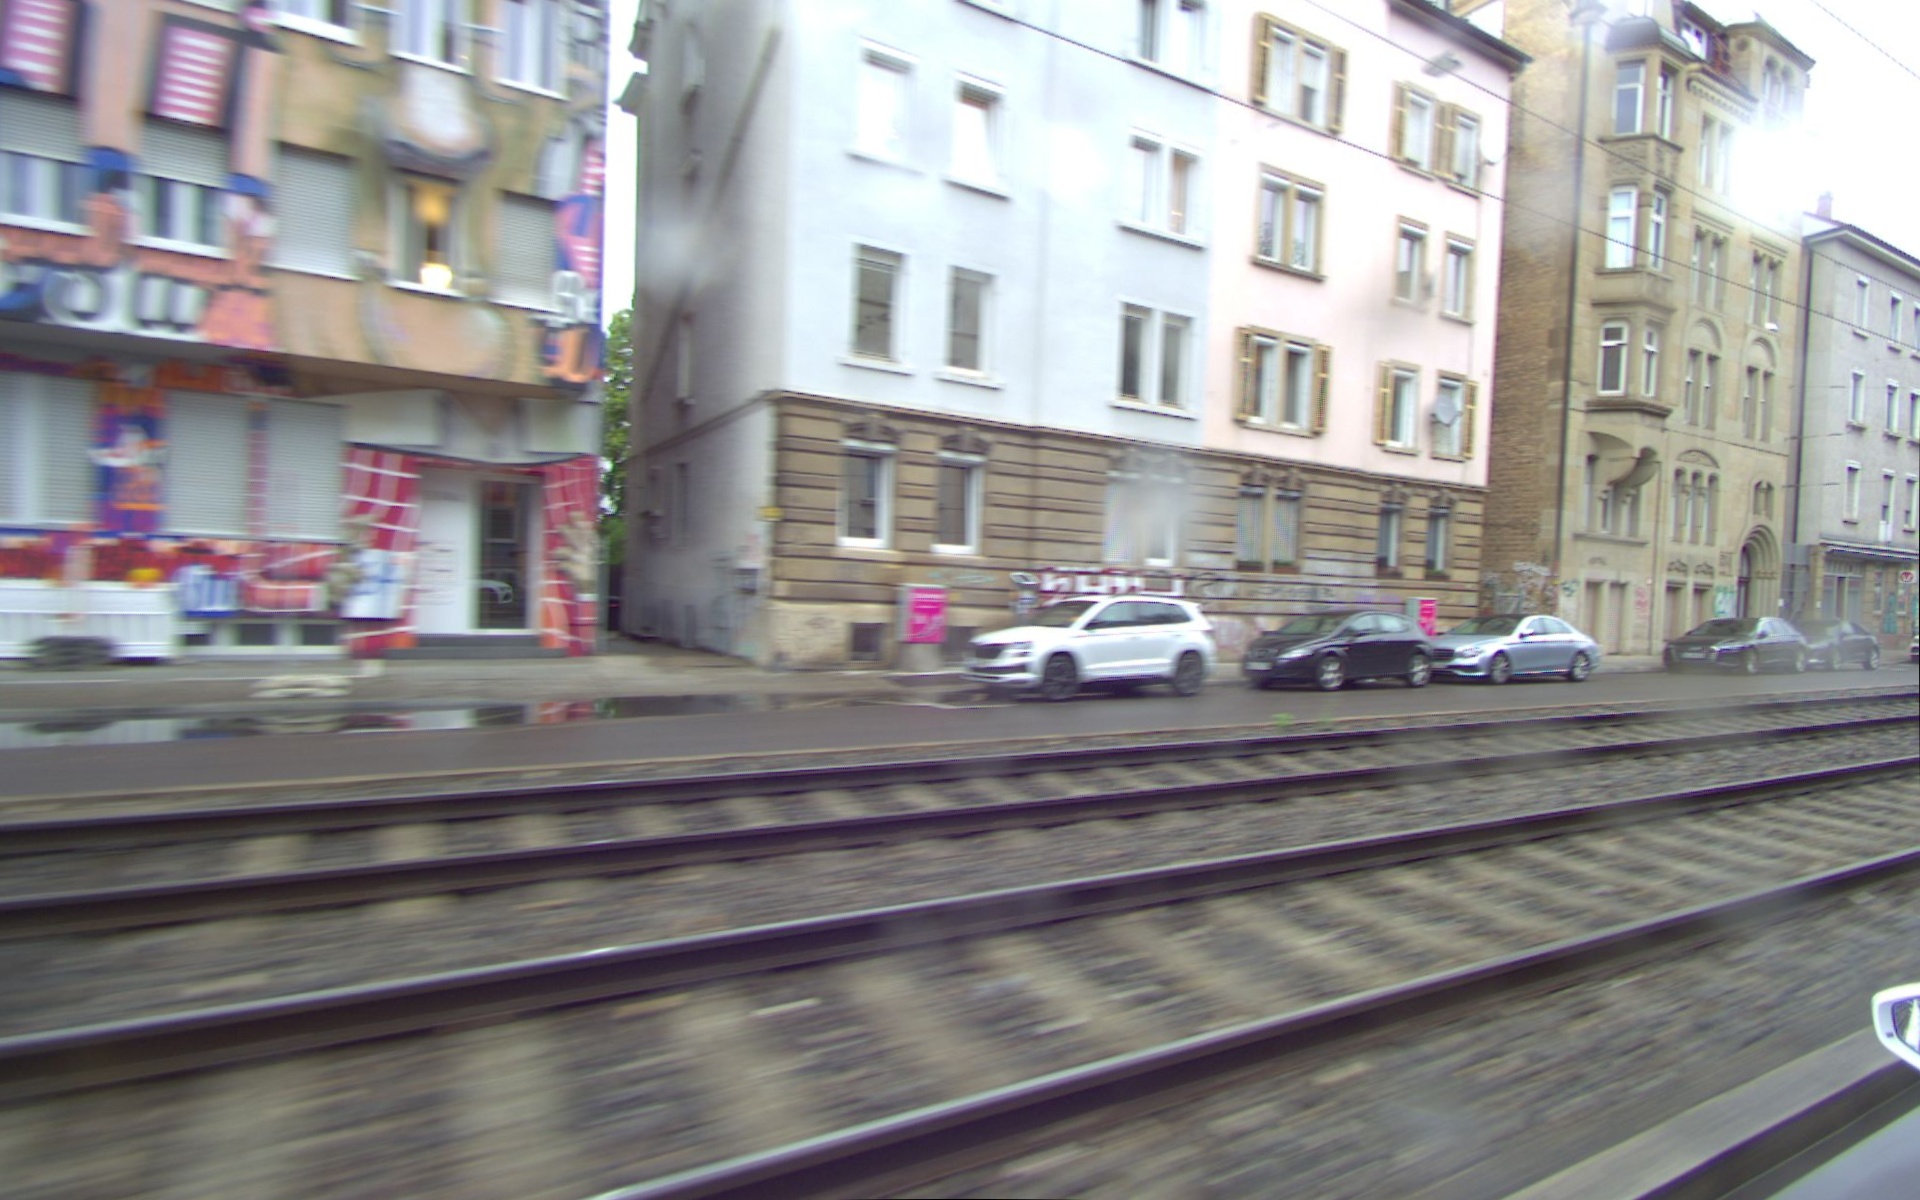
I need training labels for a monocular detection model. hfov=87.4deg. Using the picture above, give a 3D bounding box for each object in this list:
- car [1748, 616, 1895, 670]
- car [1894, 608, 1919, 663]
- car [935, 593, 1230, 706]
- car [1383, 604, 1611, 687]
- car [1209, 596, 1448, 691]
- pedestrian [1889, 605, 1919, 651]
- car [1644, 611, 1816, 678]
[{"bbox_3d":[25.453,1.249,29.673,4.188,1.394,1.984,2,1,-30],"label":"car"},{"bbox_3d":[35.241,1.298,35.409,5.012,1.864,1.983,2,1,-31],"label":"car"},{"bbox_3d":[2.001,0.755,16.163,4.383,1.539,1.984,2,1,-30],"label":"car"},{"bbox_3d":[11.562,0.954,21.542,4.933,1.539,1.984,2,1,-30],"label":"car"},{"bbox_3d":[6.950,0.798,18.901,4.159,1.539,1.984,2,1,-30],"label":"car"},{"bbox_3d":[37.600,1.097,39.818,0.973,1.774,0.797,1,1,-30],"label":"pedestrian"},{"bbox_3d":[20.484,1.170,26.695,4.621,1.539,1.984,2,1,-30],"label":"car"}]
